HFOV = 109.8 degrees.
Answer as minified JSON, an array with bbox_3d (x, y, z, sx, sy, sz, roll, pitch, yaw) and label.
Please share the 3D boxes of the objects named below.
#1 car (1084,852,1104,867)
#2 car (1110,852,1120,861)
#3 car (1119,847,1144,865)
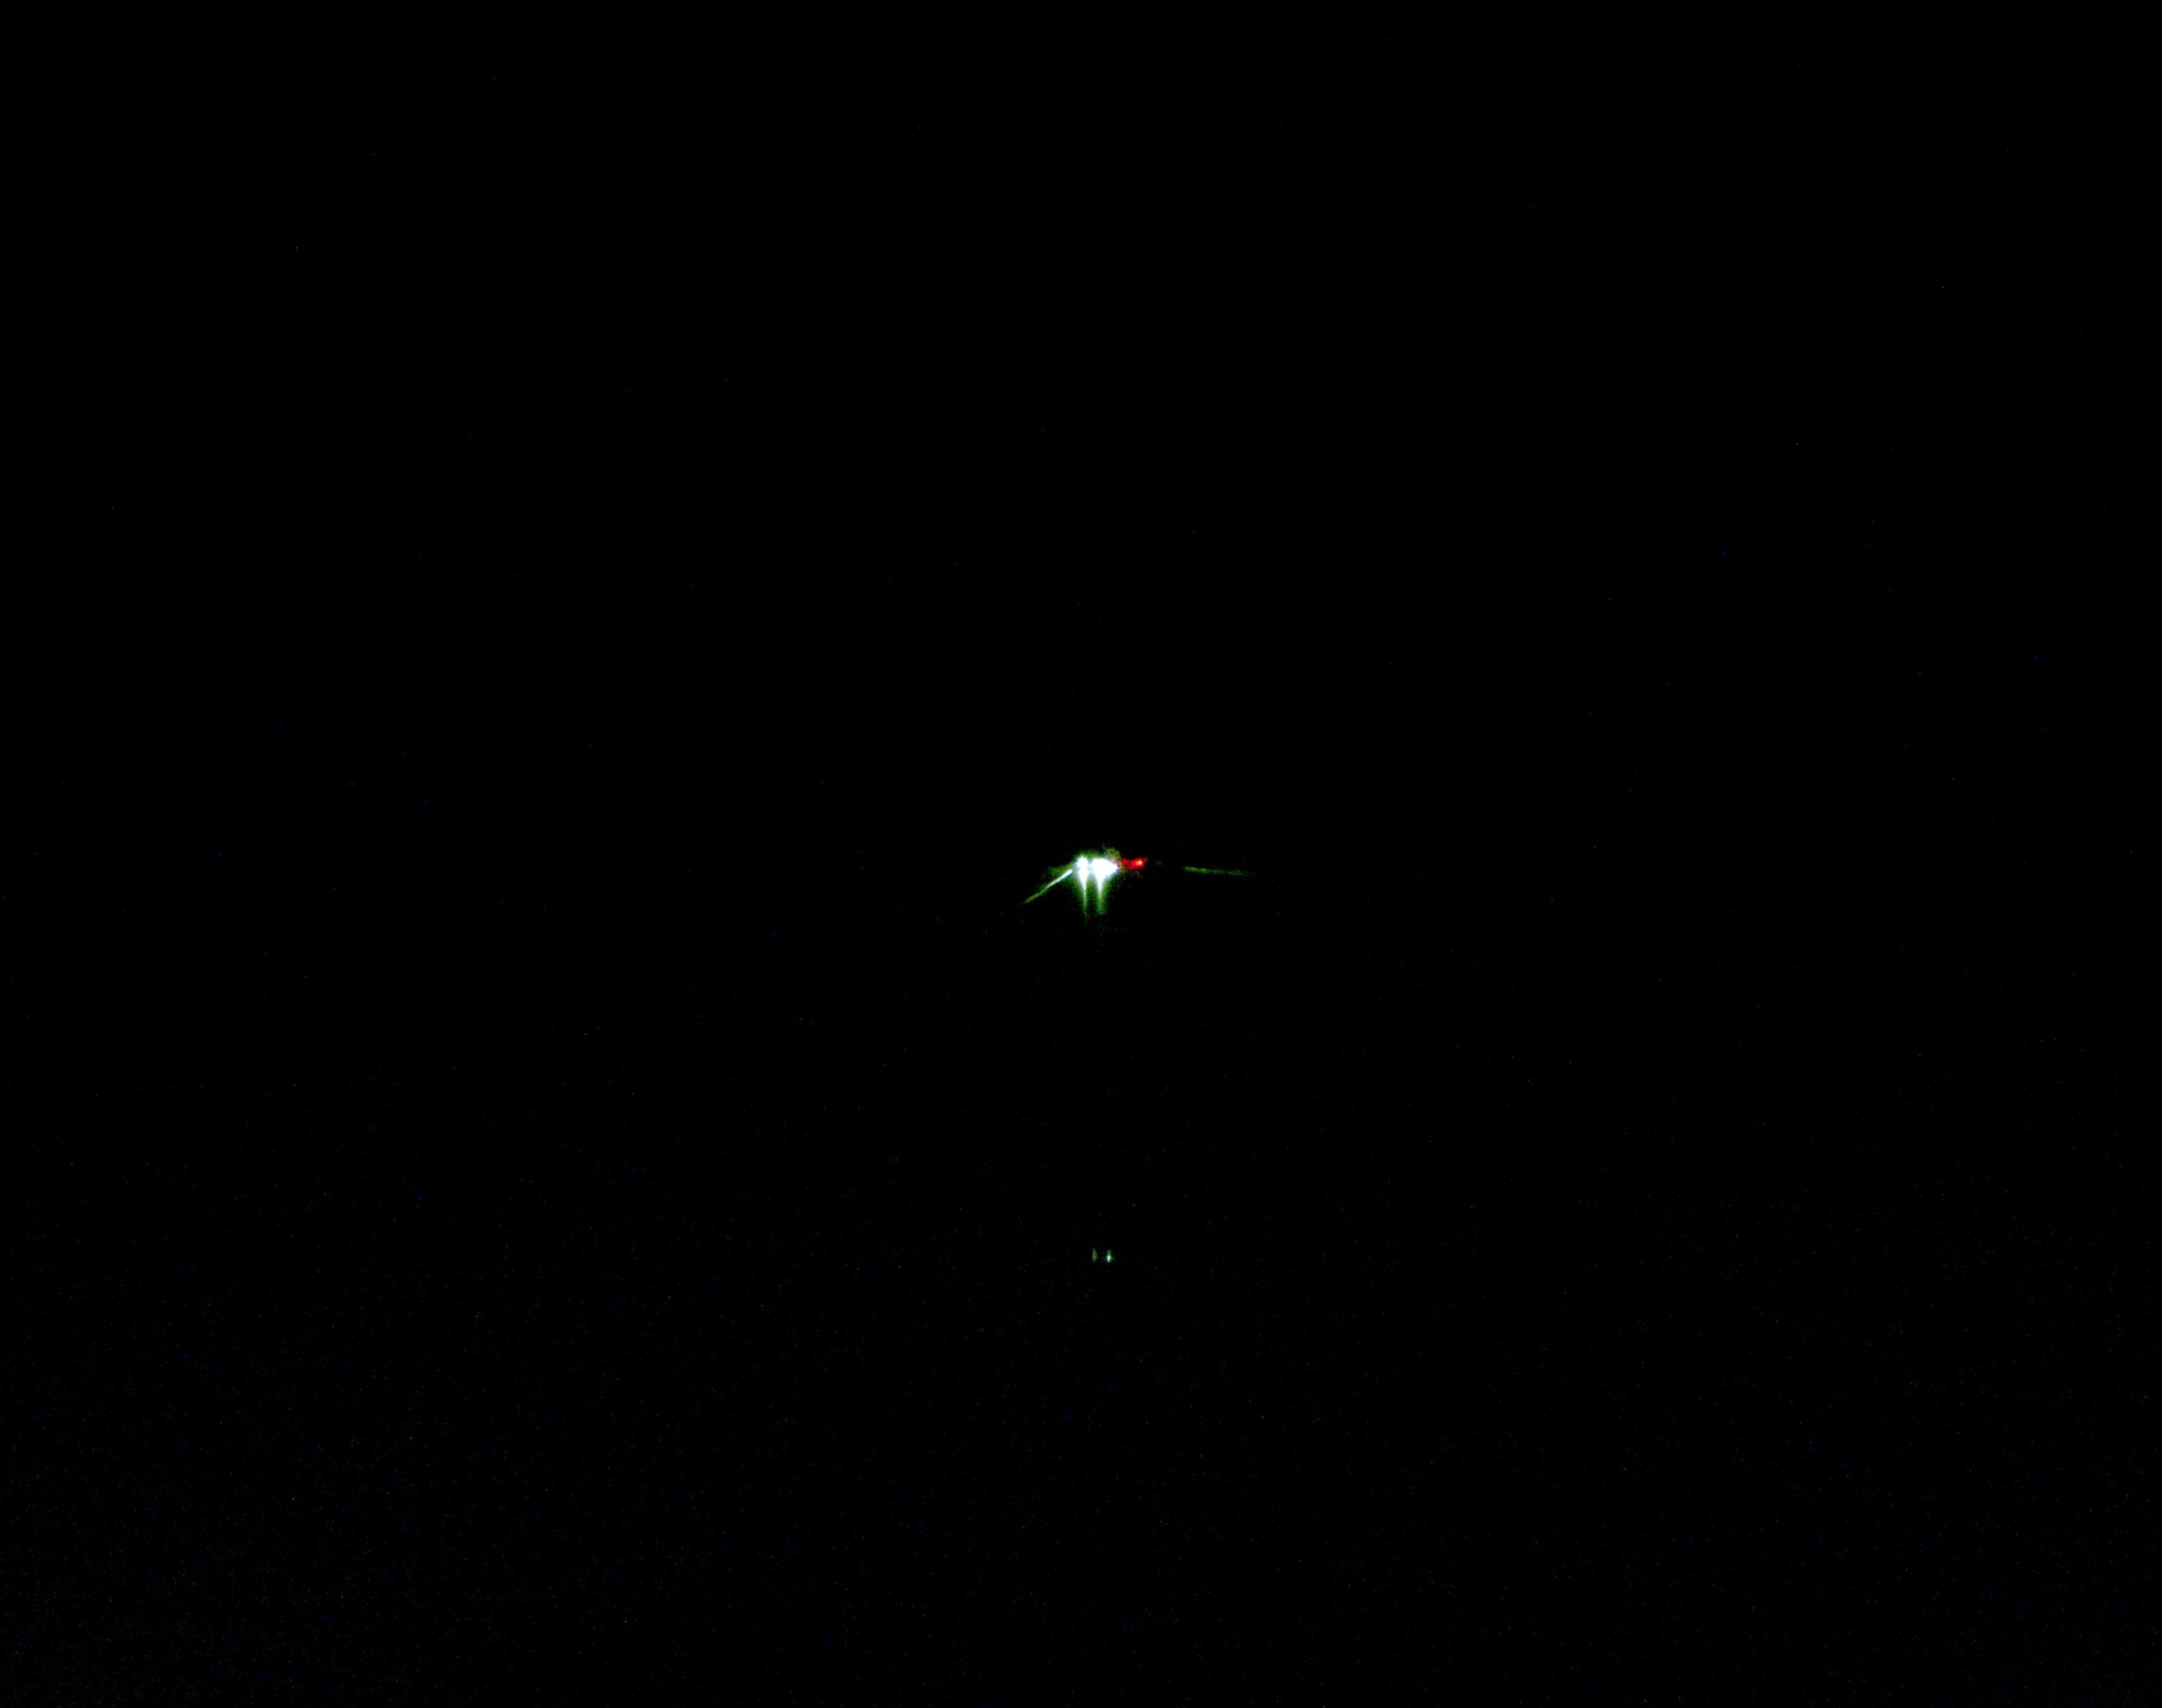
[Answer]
[{"bbox_3d":[1.478,0.557,82.120,1.807,1.452,4.277,-3,0,5],"label":"car"},{"bbox_3d":[7.768,0.549,173.425,1.998,1.782,4.246,-3,0,2],"label":"car"},{"bbox_3d":[4.434,0.172,67.321,1.998,1.440,4.429,-3,0,1],"label":"car"}]
